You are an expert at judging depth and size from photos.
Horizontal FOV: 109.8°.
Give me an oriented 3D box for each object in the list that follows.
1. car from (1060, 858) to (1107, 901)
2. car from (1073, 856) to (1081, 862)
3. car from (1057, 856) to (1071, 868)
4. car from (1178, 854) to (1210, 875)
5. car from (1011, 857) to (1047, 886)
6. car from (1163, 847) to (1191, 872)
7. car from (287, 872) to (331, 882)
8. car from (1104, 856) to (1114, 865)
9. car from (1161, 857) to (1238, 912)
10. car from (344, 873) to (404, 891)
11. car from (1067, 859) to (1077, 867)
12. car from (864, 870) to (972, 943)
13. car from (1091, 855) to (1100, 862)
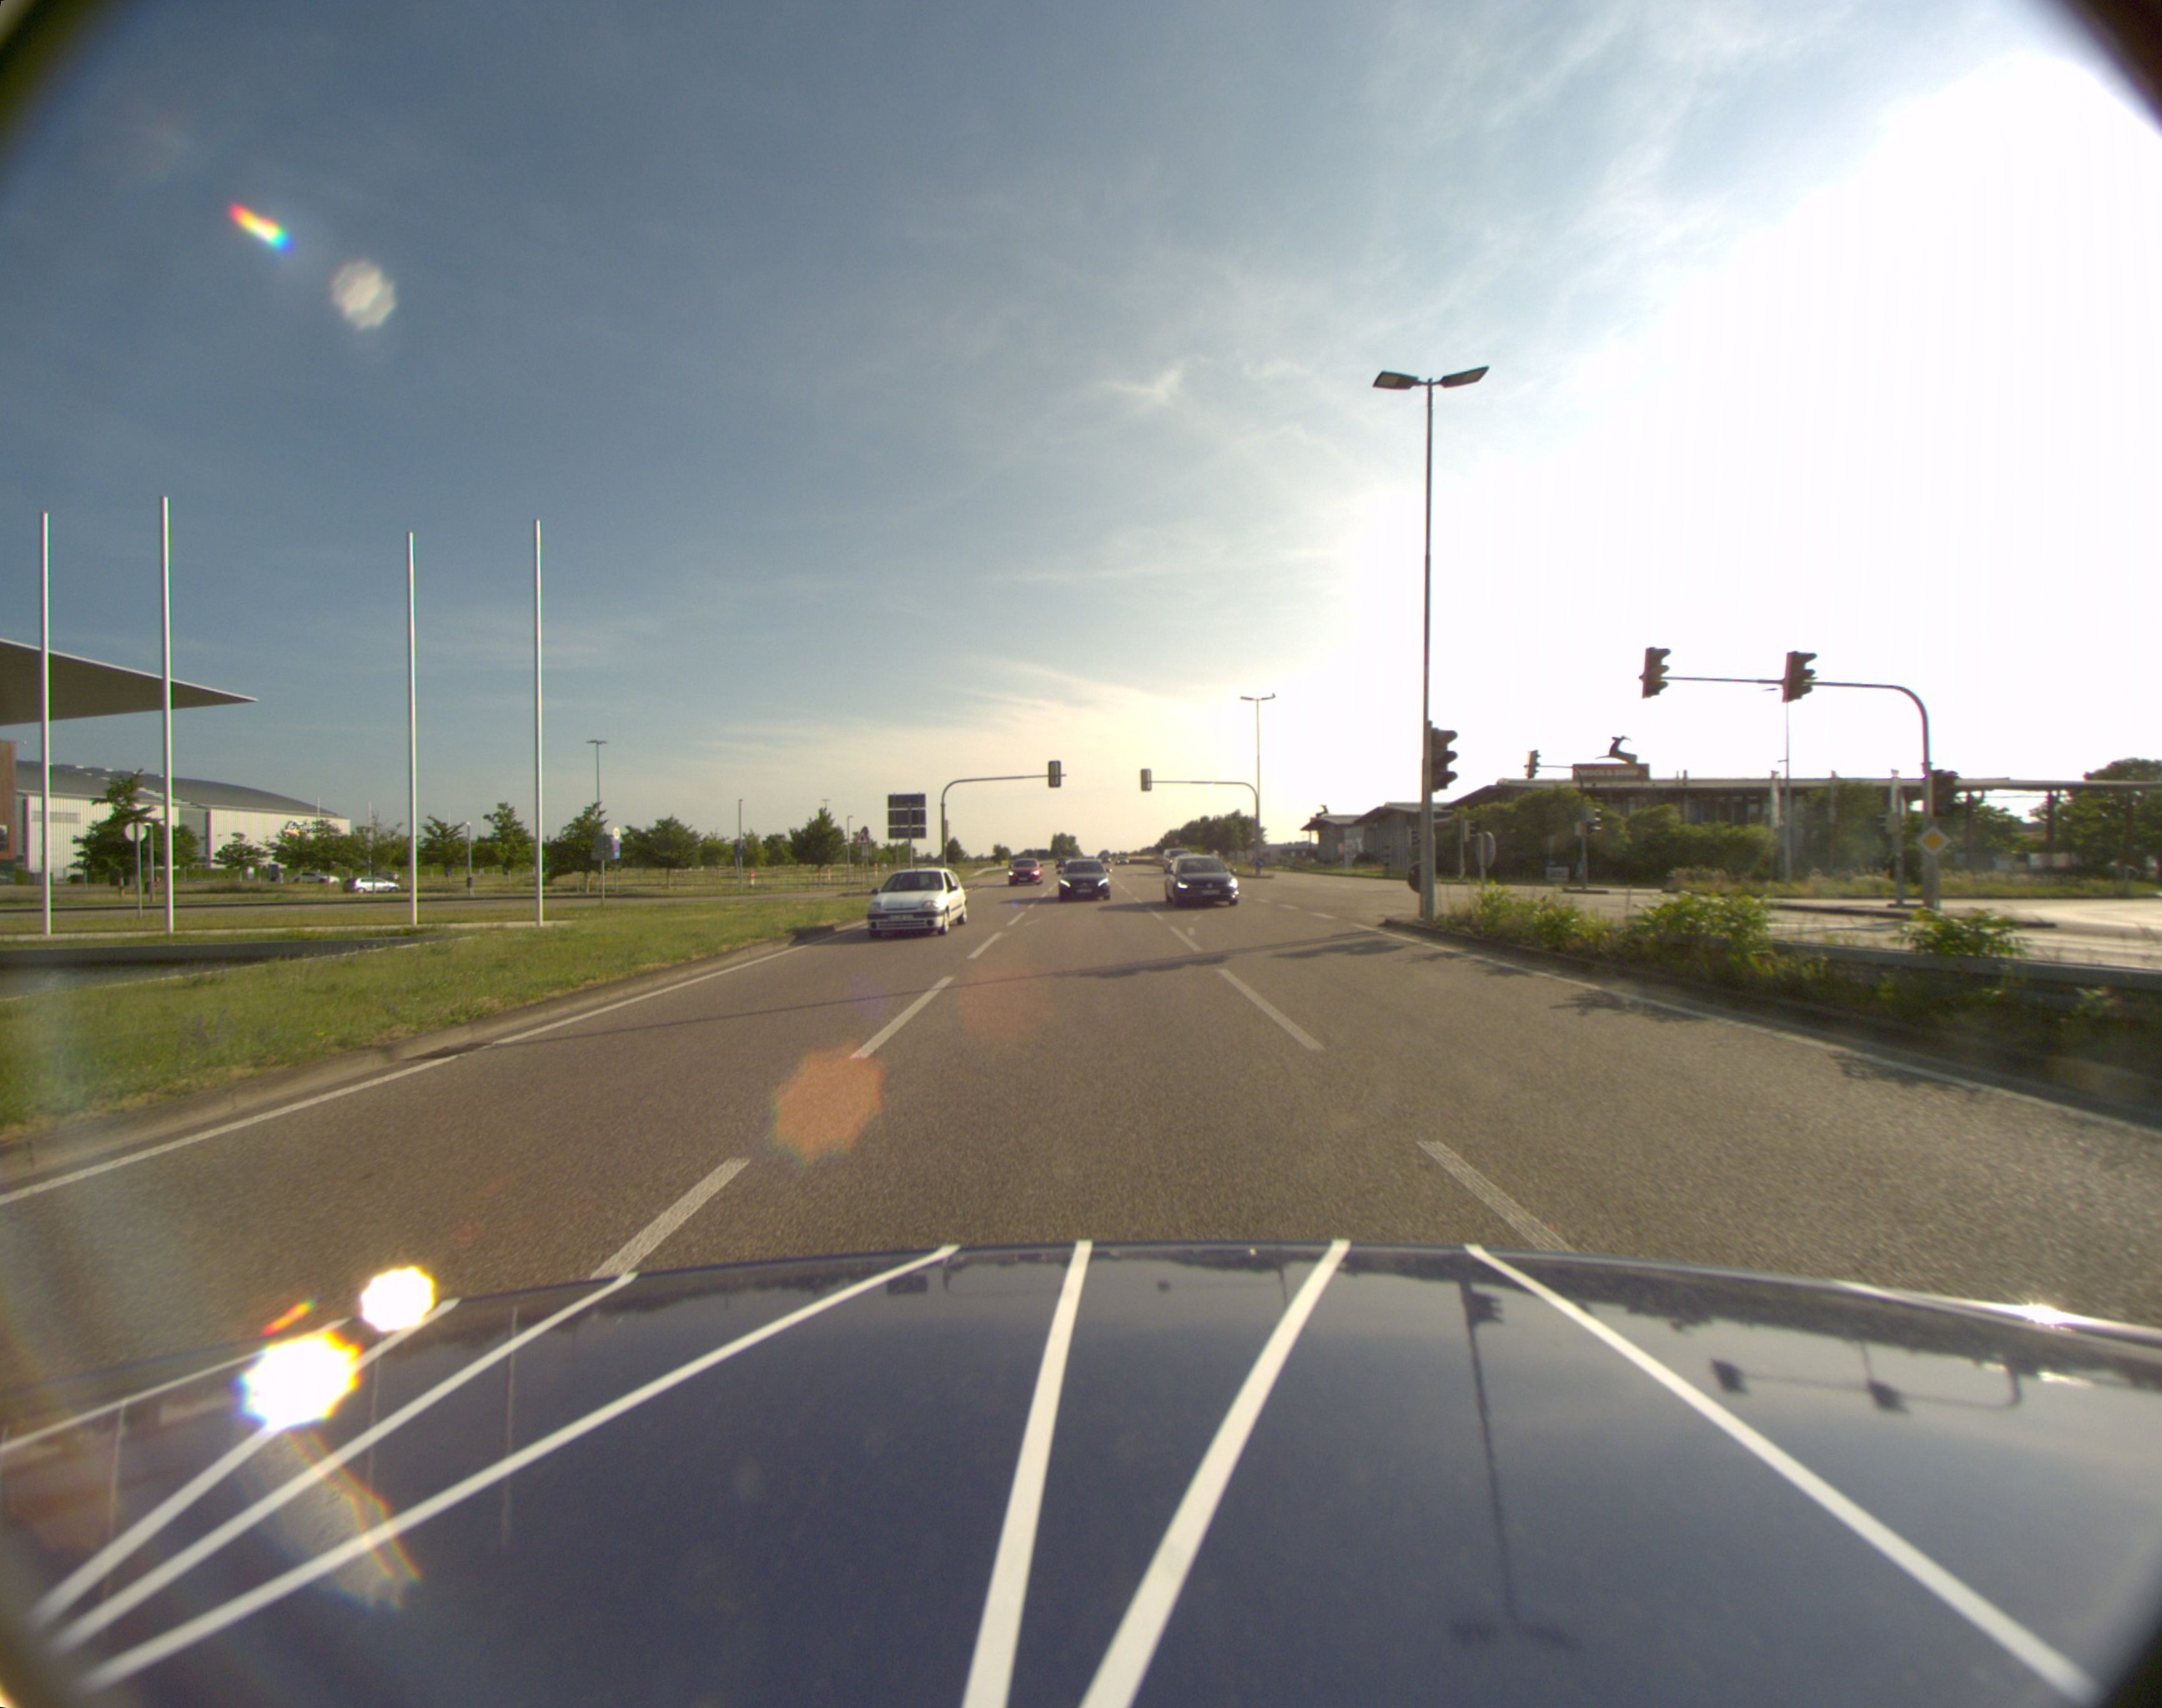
[{"bbox_3d":[0.135,0.887,28.549,1.576,1.462,5.022,-1,0,1],"label":"car"},{"bbox_3d":[-0.996,1.179,184.833,1.751,1.512,3.739,-2,0,-1],"label":"car"},{"bbox_3d":[-2.266,1.068,104.475,1.751,1.512,3.739,-2,0,1],"label":"car"},{"bbox_3d":[7.999,0.747,53.958,1.711,1.428,3.565,-2,0,1],"label":"car"},{"bbox_3d":[-2.933,0.974,43.798,1.751,1.512,3.739,-2,0,1],"label":"car"},{"bbox_3d":[7.421,0.434,59.169,1.650,1.823,4.226,-2,0,1],"label":"car"},{"bbox_3d":[-104.166,3.114,102.515,4.209,1.272,1.486,-1,0,-3],"label":"car"},{"bbox_3d":[5.412,1.273,149.171,1.751,1.512,3.739,-2,0,-1],"label":"car"},{"bbox_3d":[3.478,0.839,23.099,1.650,1.462,4.776,-1,0,1],"label":"car"},{"bbox_3d":[-62.916,2.453,67.698,1.709,1.446,3.568,-2,0,12],"label":"car"},{"bbox_3d":[-1.664,1.628,139.334,1.751,1.512,3.739,-2,0,1],"label":"car"},{"bbox_3d":[-3.514,1.083,16.943,1.578,1.370,3.452,-2,0,1],"label":"car"},{"bbox_3d":[3.383,1.071,177.362,1.751,1.512,3.739,-2,0,-1],"label":"car"}]
